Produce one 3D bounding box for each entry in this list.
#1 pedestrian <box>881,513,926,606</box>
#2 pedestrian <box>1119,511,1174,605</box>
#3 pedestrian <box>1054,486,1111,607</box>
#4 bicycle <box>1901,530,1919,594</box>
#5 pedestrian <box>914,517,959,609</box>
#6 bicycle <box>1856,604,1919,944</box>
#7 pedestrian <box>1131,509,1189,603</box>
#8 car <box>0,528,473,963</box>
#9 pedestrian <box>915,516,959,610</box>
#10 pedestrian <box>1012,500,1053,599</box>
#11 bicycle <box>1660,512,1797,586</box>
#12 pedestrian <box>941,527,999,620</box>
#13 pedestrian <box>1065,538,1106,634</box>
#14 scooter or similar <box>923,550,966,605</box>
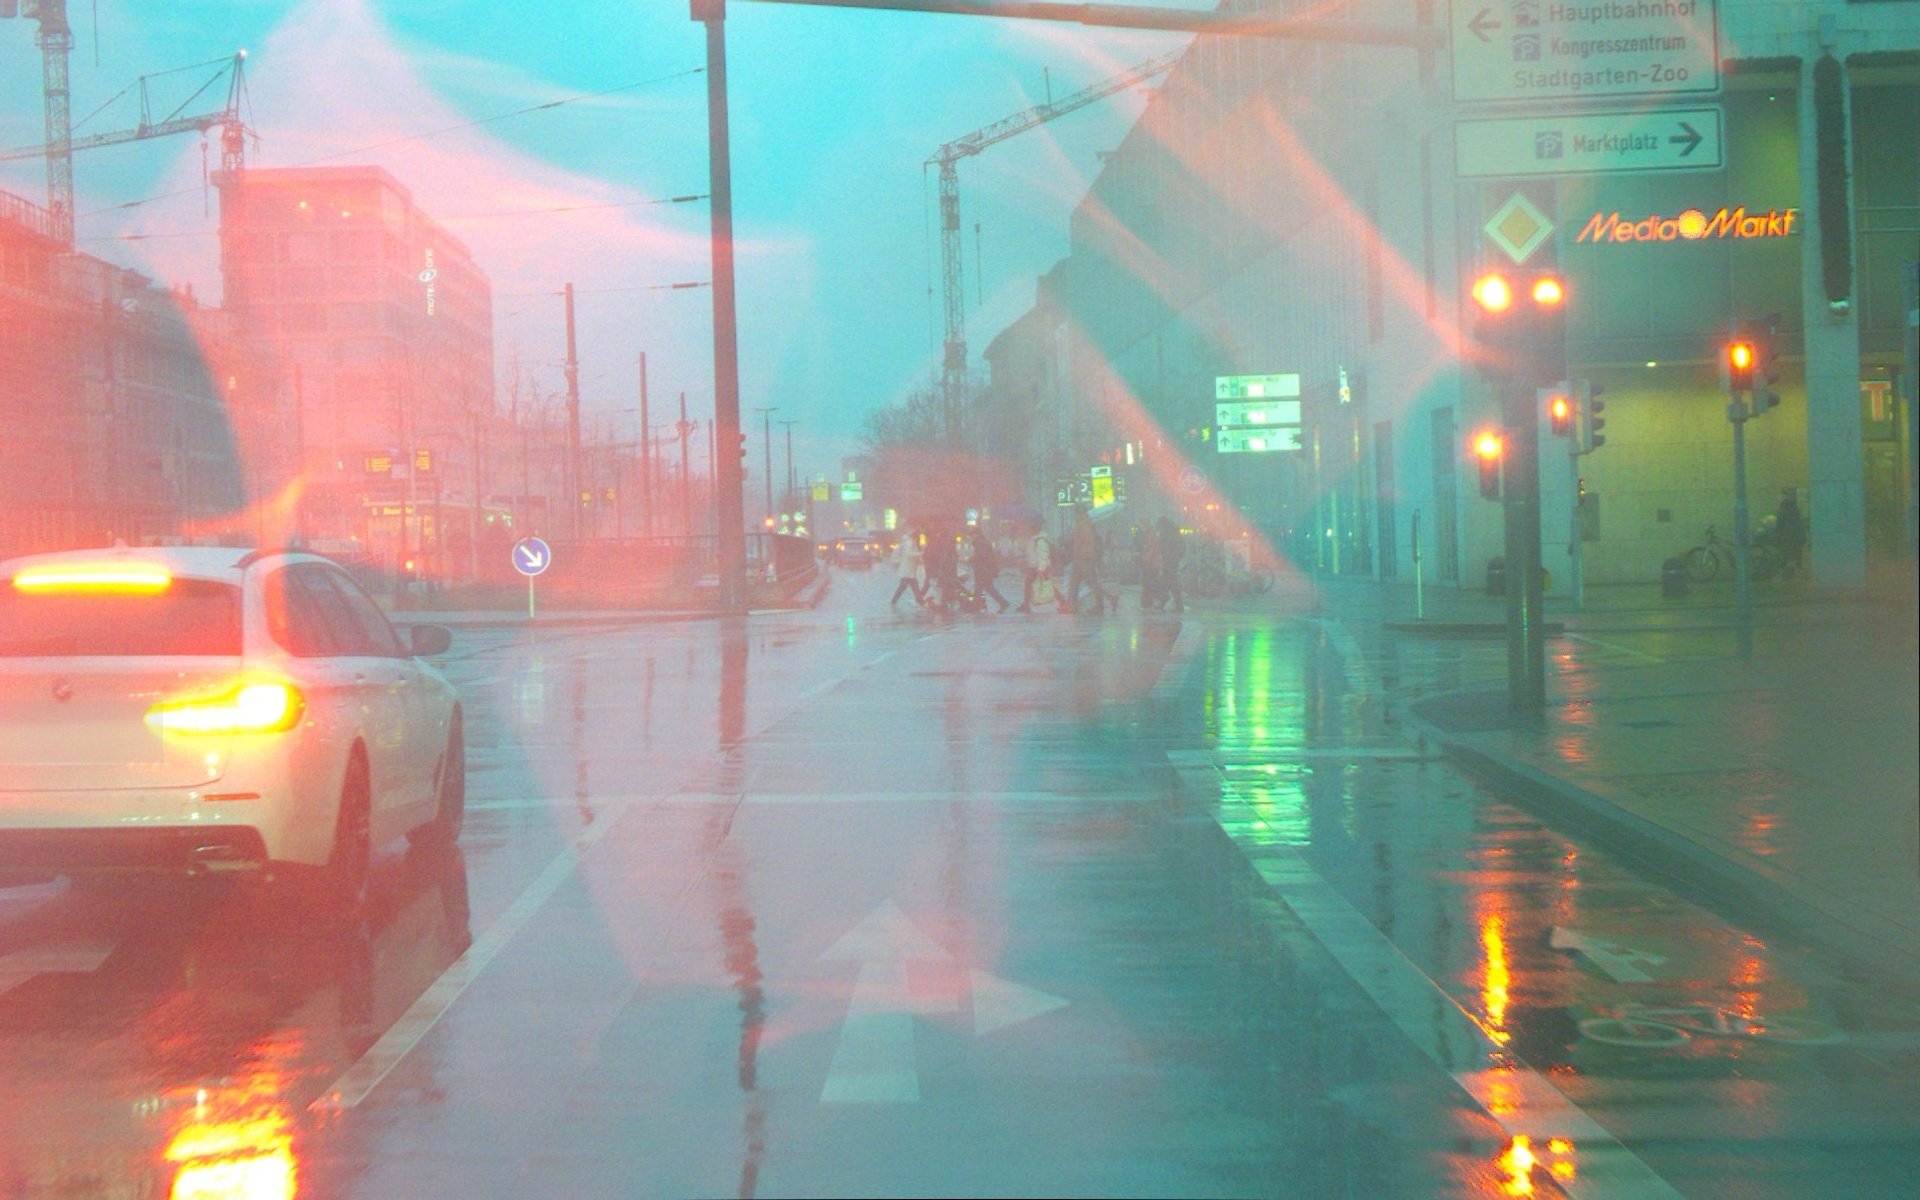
[{"bbox_3d":[-1.034,-0.745,62.896,0.741,1.661,0.400,-2,1,3],"label":"pedestrian"},{"bbox_3d":[3.366,-0.757,62.245,0.830,1.673,0.619,-2,1,-9],"label":"pedestrian"},{"bbox_3d":[2.121,-0.925,59.540,0.686,2.080,0.613,-3,1,-39],"label":"pedestrian"},{"bbox_3d":[15.675,-0.597,53.103,2.128,0.988,0.541,0,0,0],"label":"bicycle"},{"bbox_3d":[-0.420,-0.660,61.589,0.706,1.613,0.680,-2,1,2],"label":"pedestrian"},{"bbox_3d":[4.105,0.548,12.049,1.750,1.144,0.436,-4,1,-3],"label":"bicycle"},{"bbox_3d":[3.673,-0.806,63.176,0.842,1.682,0.677,-2,1,-15],"label":"pedestrian"},{"bbox_3d":[-3.397,0.485,14.690,1.909,1.515,4.924,-2,1,0],"label":"car"},{"bbox_3d":[-0.410,-0.643,60.059,0.706,1.613,0.613,-2,1,-1],"label":"pedestrian"},{"bbox_3d":[1.292,-0.908,61.570,0.619,1.740,0.613,-2,1,-4],"label":"pedestrian"},{"bbox_3d":[14.522,-0.964,65.003,2.425,1.324,0.635,-2,1,-4],"label":"bicycle"},{"bbox_3d":[0.172,-0.471,60.538,0.817,1.613,0.538,-1,1,39],"label":"pedestrian"},{"bbox_3d":[2.326,-0.261,63.760,0.702,1.754,0.667,-2,1,1],"label":"pedestrian"},{"bbox_3d":[-0.277,-0.414,62.860,0.741,0.990,0.400,-2,1,3],"label":"scooter or similar"}]
